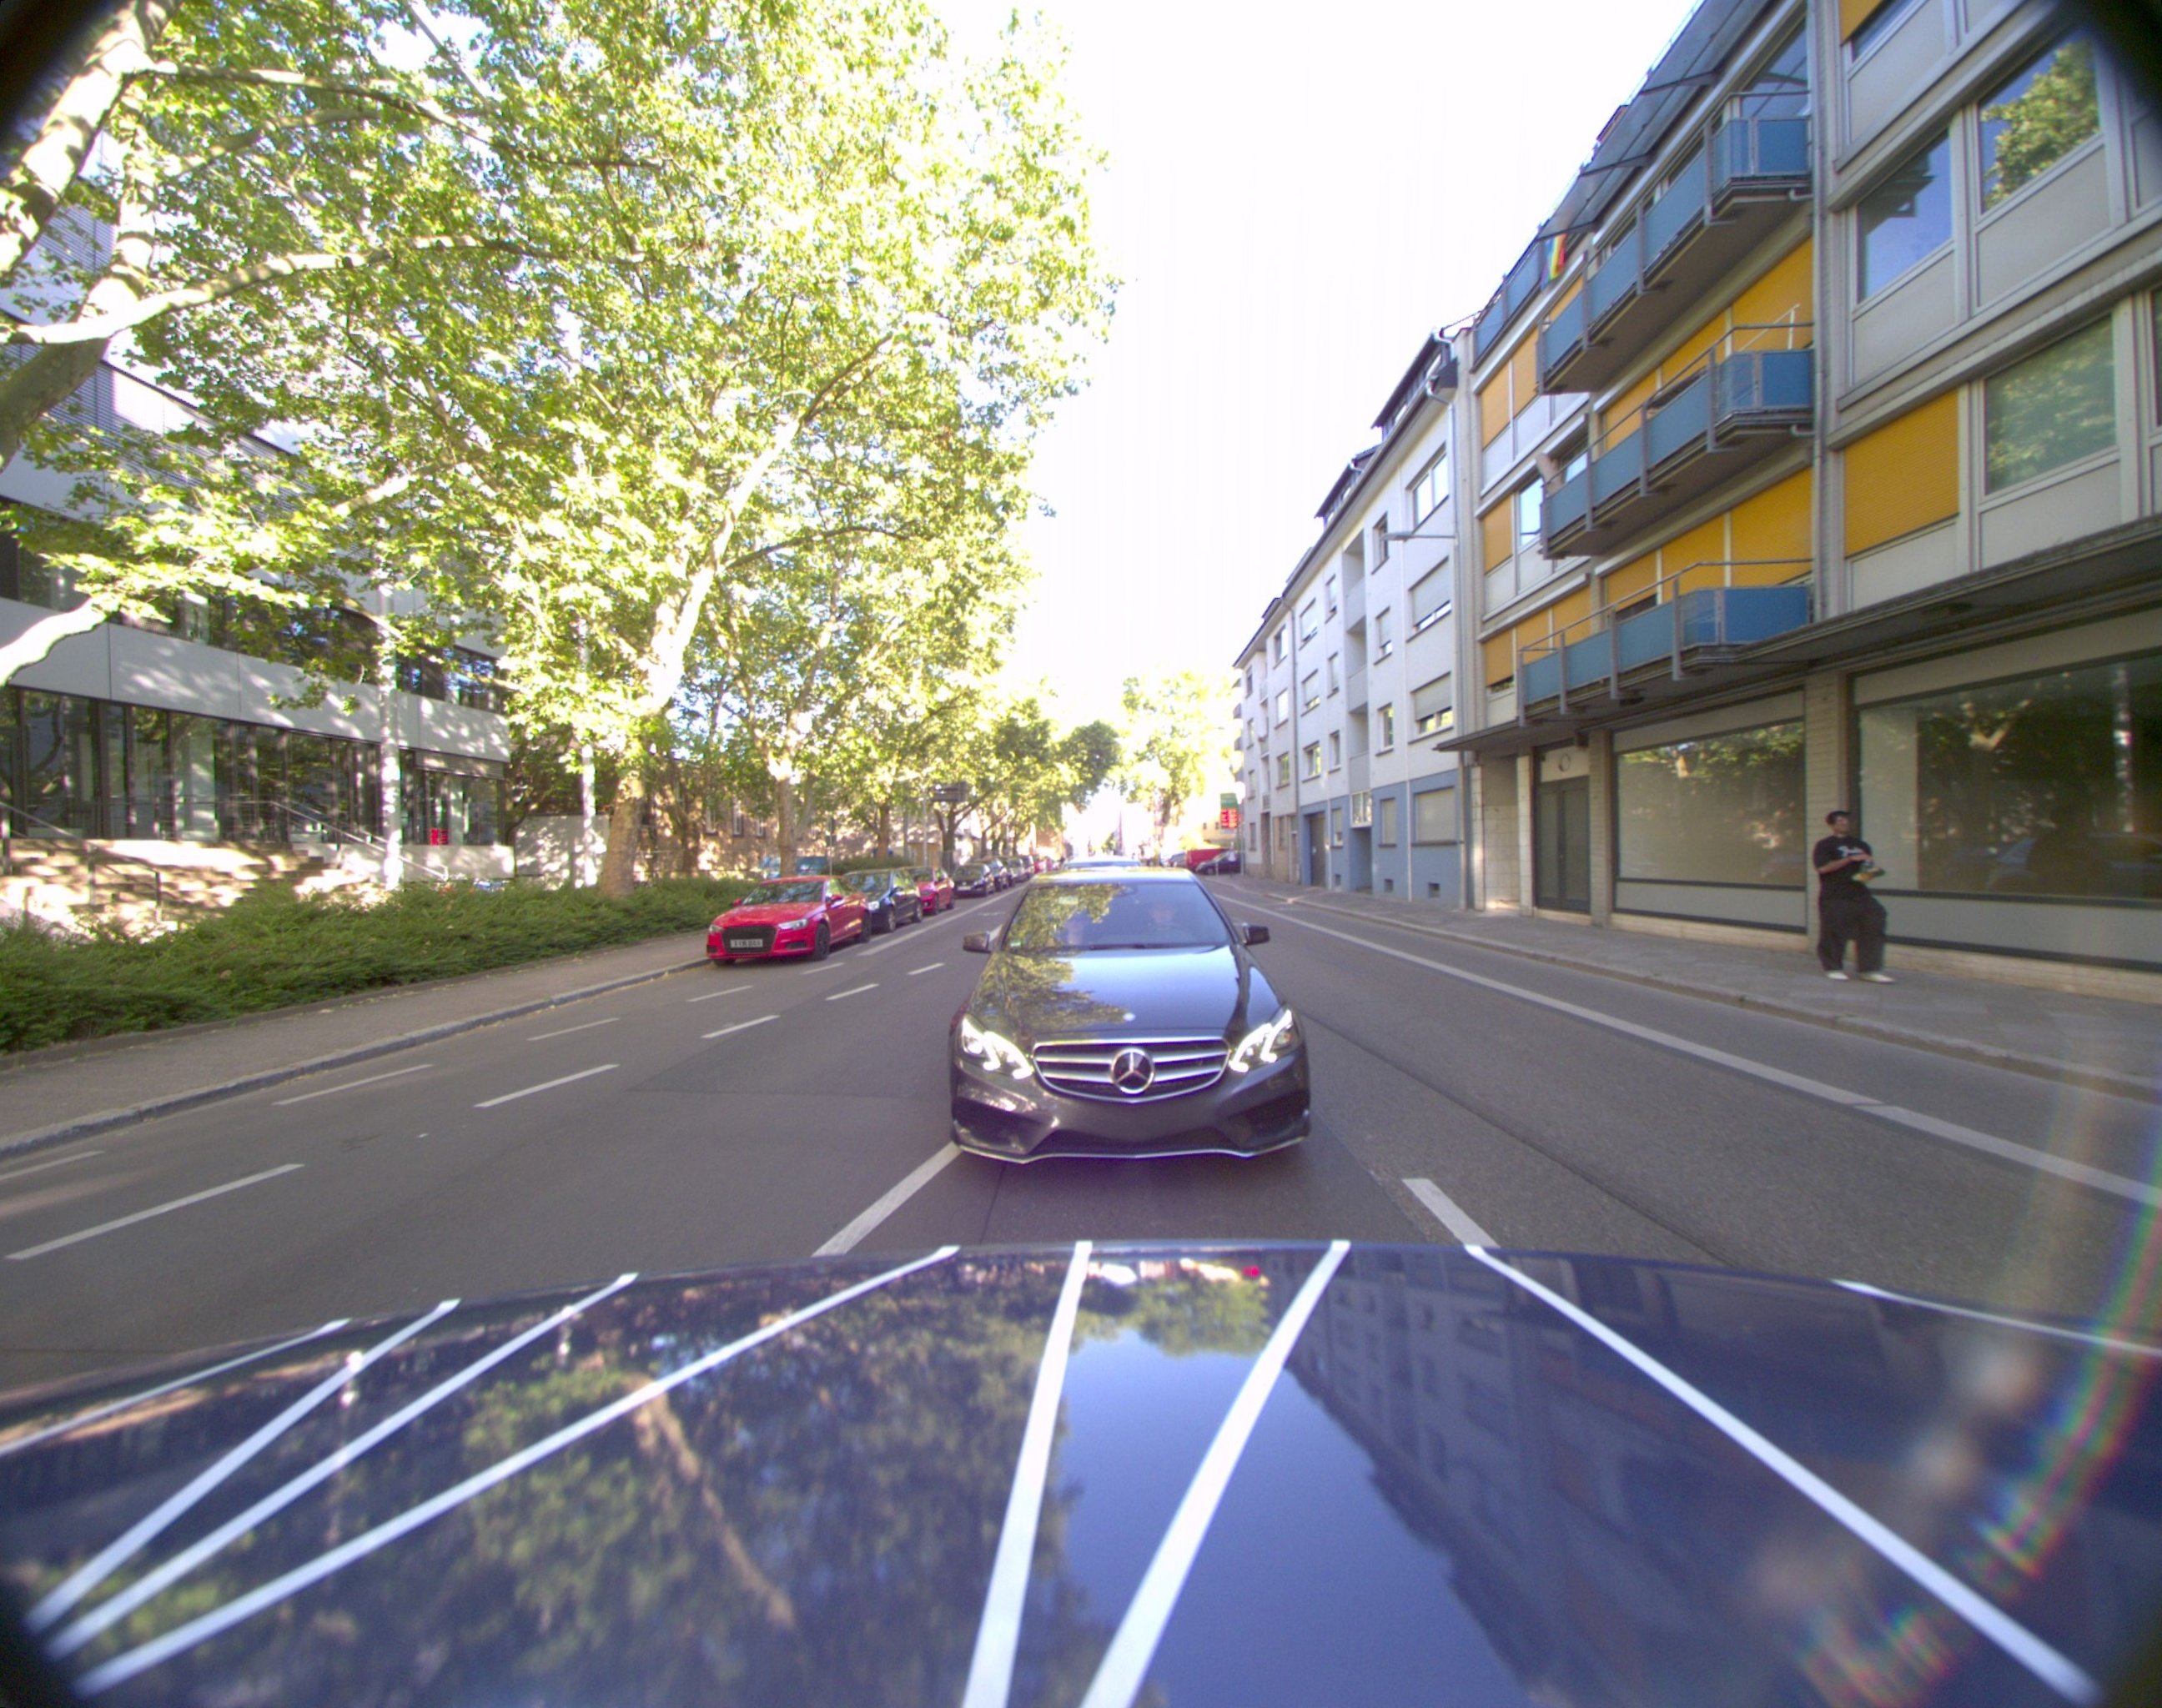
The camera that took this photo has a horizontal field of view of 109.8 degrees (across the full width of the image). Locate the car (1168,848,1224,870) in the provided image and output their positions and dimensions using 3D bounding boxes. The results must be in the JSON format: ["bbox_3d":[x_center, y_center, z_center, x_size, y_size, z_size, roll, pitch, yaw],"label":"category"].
[{"bbox_3d":[11.093,0.445,73.514,5.143,1.926,2.187,-2,0,1],"label":"car"}]

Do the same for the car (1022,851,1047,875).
[{"bbox_3d":[-4.003,0.733,66.381,1.755,1.941,4.447,-3,0,1],"label":"car"}]

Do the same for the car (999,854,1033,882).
[{"bbox_3d":[-4.278,0.884,50.937,1.755,1.718,4.447,-3,0,1],"label":"car"}]

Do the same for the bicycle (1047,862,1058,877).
[{"bbox_3d":[-2.020,1.084,54.063,0.650,1.053,1.595,-2,0,1],"label":"bicycle"}]

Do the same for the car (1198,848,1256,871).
[{"bbox_3d":[10.907,0.393,56.984,3.997,1.552,1.743,-2,0,1],"label":"car"}]

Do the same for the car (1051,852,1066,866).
[{"bbox_3d":[-3.024,0.655,103.195,1.755,1.652,4.447,-3,0,1],"label":"car"}]

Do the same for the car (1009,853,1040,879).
[{"bbox_3d":[-4.108,0.826,55.748,1.755,1.753,4.447,-3,0,1],"label":"car"}]

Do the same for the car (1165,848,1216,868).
[{"bbox_3d":[11.279,0.375,78.713,4.991,1.926,2.083,-2,0,1],"label":"car"}]

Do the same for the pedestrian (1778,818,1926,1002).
[{"bbox_3d":[7.819,0.540,7.742,0.663,1.761,0.793,-2,1,1],"label":"pedestrian"}]

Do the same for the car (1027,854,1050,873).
[{"bbox_3d":[-4.009,0.907,72.167,1.755,1.652,4.447,-3,0,1],"label":"car"}]

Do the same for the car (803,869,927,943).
[{"bbox_3d":[-5.088,1.175,18.435,1.755,1.424,3.909,-3,0,1],"label":"car"}]

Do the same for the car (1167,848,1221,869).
[{"bbox_3d":[11.265,0.406,76.214,5.054,1.926,2.161,-2,0,1],"label":"car"}]

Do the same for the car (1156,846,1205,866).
[{"bbox_3d":[11.182,0.204,85.514,5.143,2.135,2.187,-2,0,1],"label":"car"}]

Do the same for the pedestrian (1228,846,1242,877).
[{"bbox_3d":[8.904,0.416,43.862,0.608,1.737,0.756,-2,1,1],"label":"pedestrian"}]

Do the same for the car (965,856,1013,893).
[{"bbox_3d":[-4.567,0.979,38.256,1.755,1.644,4.174,-3,0,1],"label":"car"}]

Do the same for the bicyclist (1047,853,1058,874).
[{"bbox_3d":[-2.024,0.663,54.067,0.650,1.427,0.741,-2,1,1],"label":"bicyclist"}]

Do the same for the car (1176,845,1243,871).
[{"bbox_3d":[10.630,0.296,63.098,5.223,1.969,2.257,-2,0,1],"label":"car"}]

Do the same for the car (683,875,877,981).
[{"bbox_3d":[-5.127,1.185,13.589,1.755,1.400,4.000,-3,0,1],"label":"car"}]

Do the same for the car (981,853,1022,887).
[{"bbox_3d":[-4.558,0.874,44.054,1.755,1.810,4.447,-3,0,1],"label":"car"}]

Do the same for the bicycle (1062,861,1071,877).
[{"bbox_3d":[-1.006,1.034,53.773,0.574,1.053,1.595,-2,0,1],"label":"bicycle"}]

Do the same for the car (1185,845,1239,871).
[{"bbox_3d":[10.325,0.302,60.074,3.997,1.926,1.867,-2,0,1],"label":"car"}]

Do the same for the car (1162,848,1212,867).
[{"bbox_3d":[11.315,0.350,81.178,5.042,1.926,2.315,-2,0,1],"label":"car"}]

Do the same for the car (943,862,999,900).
[{"bbox_3d":[-4.754,1.121,33.285,1.755,1.424,3.909,-3,0,1],"label":"car"}]

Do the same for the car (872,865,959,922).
[{"bbox_3d":[-5.038,1.149,23.648,1.755,1.459,3.909,-3,0,1],"label":"car"}]

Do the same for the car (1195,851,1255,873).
[{"bbox_3d":[10.351,0.564,54.774,3.997,1.412,1.743,-2,0,1],"label":"car"}]

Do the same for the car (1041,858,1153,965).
[{"bbox_3d":[0.268,0.888,13.602,1.667,1.563,4.000,-1,0,1],"label":"car"}]

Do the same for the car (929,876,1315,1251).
[{"bbox_3d":[0.210,0.985,5.349,1.667,1.499,4.000,-1,0,1],"label":"car"}]
